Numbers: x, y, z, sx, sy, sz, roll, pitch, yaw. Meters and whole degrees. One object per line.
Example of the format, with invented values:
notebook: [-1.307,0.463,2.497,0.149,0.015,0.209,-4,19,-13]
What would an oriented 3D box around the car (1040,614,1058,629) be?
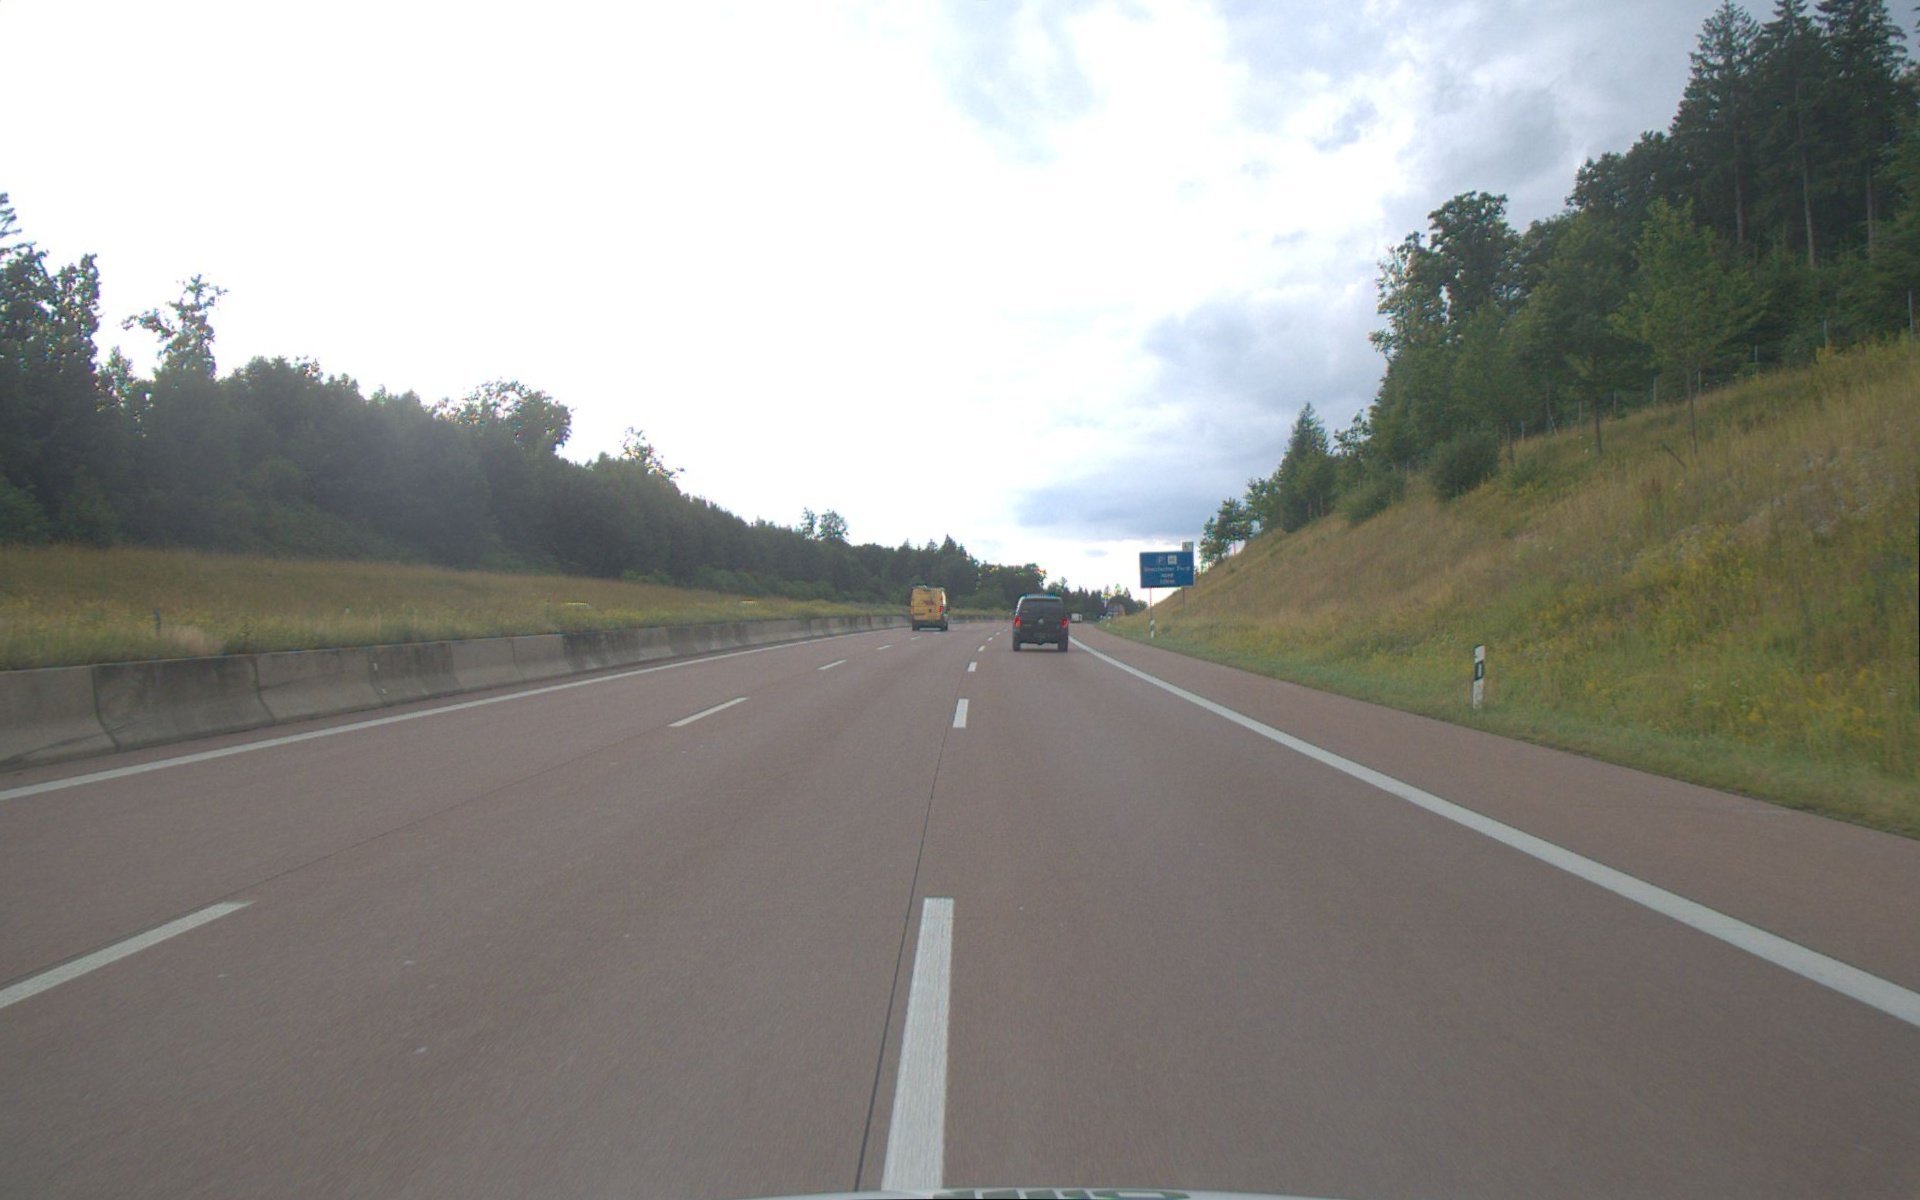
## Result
car: [9.654,2.356,180.394,1.936,1.677,4.620,0,-1,3]

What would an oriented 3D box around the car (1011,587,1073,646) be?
car: [2.780,0.602,56.855,2.001,1.930,5.578,0,-1,2]

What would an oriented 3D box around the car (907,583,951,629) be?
car: [-1.894,0.398,103.254,2.407,2.754,5.614,0,-1,2]
